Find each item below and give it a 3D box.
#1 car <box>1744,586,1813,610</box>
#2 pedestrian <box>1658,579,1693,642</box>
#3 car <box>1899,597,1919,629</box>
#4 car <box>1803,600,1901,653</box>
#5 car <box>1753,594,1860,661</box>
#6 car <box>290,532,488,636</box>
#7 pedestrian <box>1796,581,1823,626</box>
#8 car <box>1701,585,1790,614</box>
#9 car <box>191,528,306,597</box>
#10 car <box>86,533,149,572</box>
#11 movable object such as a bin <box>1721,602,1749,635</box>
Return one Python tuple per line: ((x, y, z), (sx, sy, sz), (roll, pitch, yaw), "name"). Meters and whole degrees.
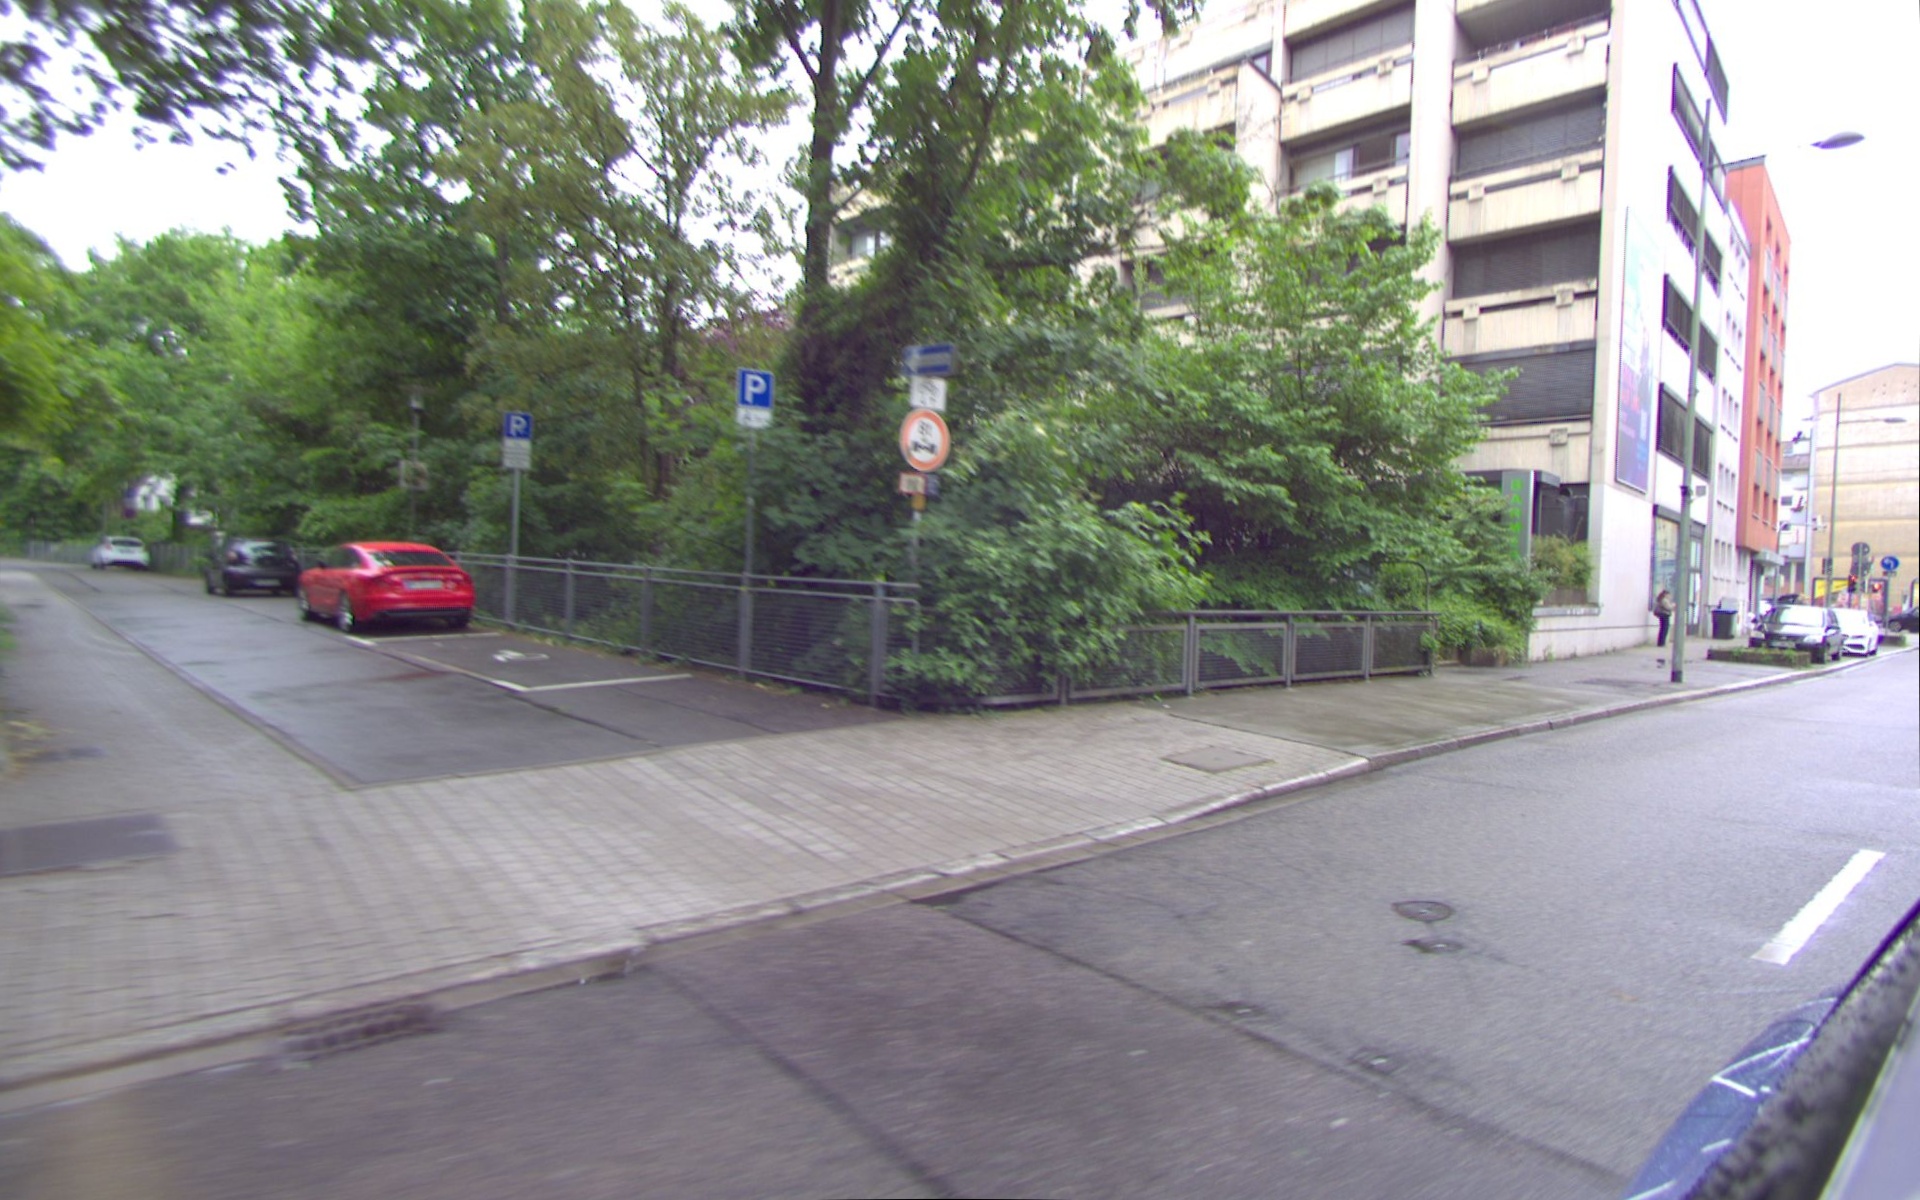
((64.814, -0.179, 80.213), (1.801, 1.732, 3.800), (1, 1, -22), "car")
((20.115, 0.286, 28.447), (0.598, 1.679, 0.681), (6, 4, 42), "pedestrian")
((53.573, 0.779, 54.480), (1.840, 1.705, 4.009), (1, 1, -15), "car")
((27.916, 0.768, 31.631), (4.493, 1.437, 1.833), (0, 3, -43), "car")
((22.913, 0.688, 27.354), (3.741, 1.577, 1.705), (0, 3, -43), "car")
((-9.634, -0.346, 16.962), (3.989, 1.499, 1.847), (4, 4, 44), "car")
((41.834, 0.183, 49.837), (0.797, 2.180, 0.732), (2, 1, 25), "pedestrian")
((49.191, -0.034, 63.461), (1.798, 1.641, 4.008), (1, 1, -25), "car")
((-18.005, -0.970, 25.550), (1.707, 1.590, 3.924), (0, 3, -45), "car")
((-37.400, -2.117, 44.870), (3.922, 1.590, 1.708), (4, 3, 44), "car")
((27.405, 0.659, 35.796), (0.505, 1.117, 0.680), (1, 1, -43), "movable object such as a bin")
